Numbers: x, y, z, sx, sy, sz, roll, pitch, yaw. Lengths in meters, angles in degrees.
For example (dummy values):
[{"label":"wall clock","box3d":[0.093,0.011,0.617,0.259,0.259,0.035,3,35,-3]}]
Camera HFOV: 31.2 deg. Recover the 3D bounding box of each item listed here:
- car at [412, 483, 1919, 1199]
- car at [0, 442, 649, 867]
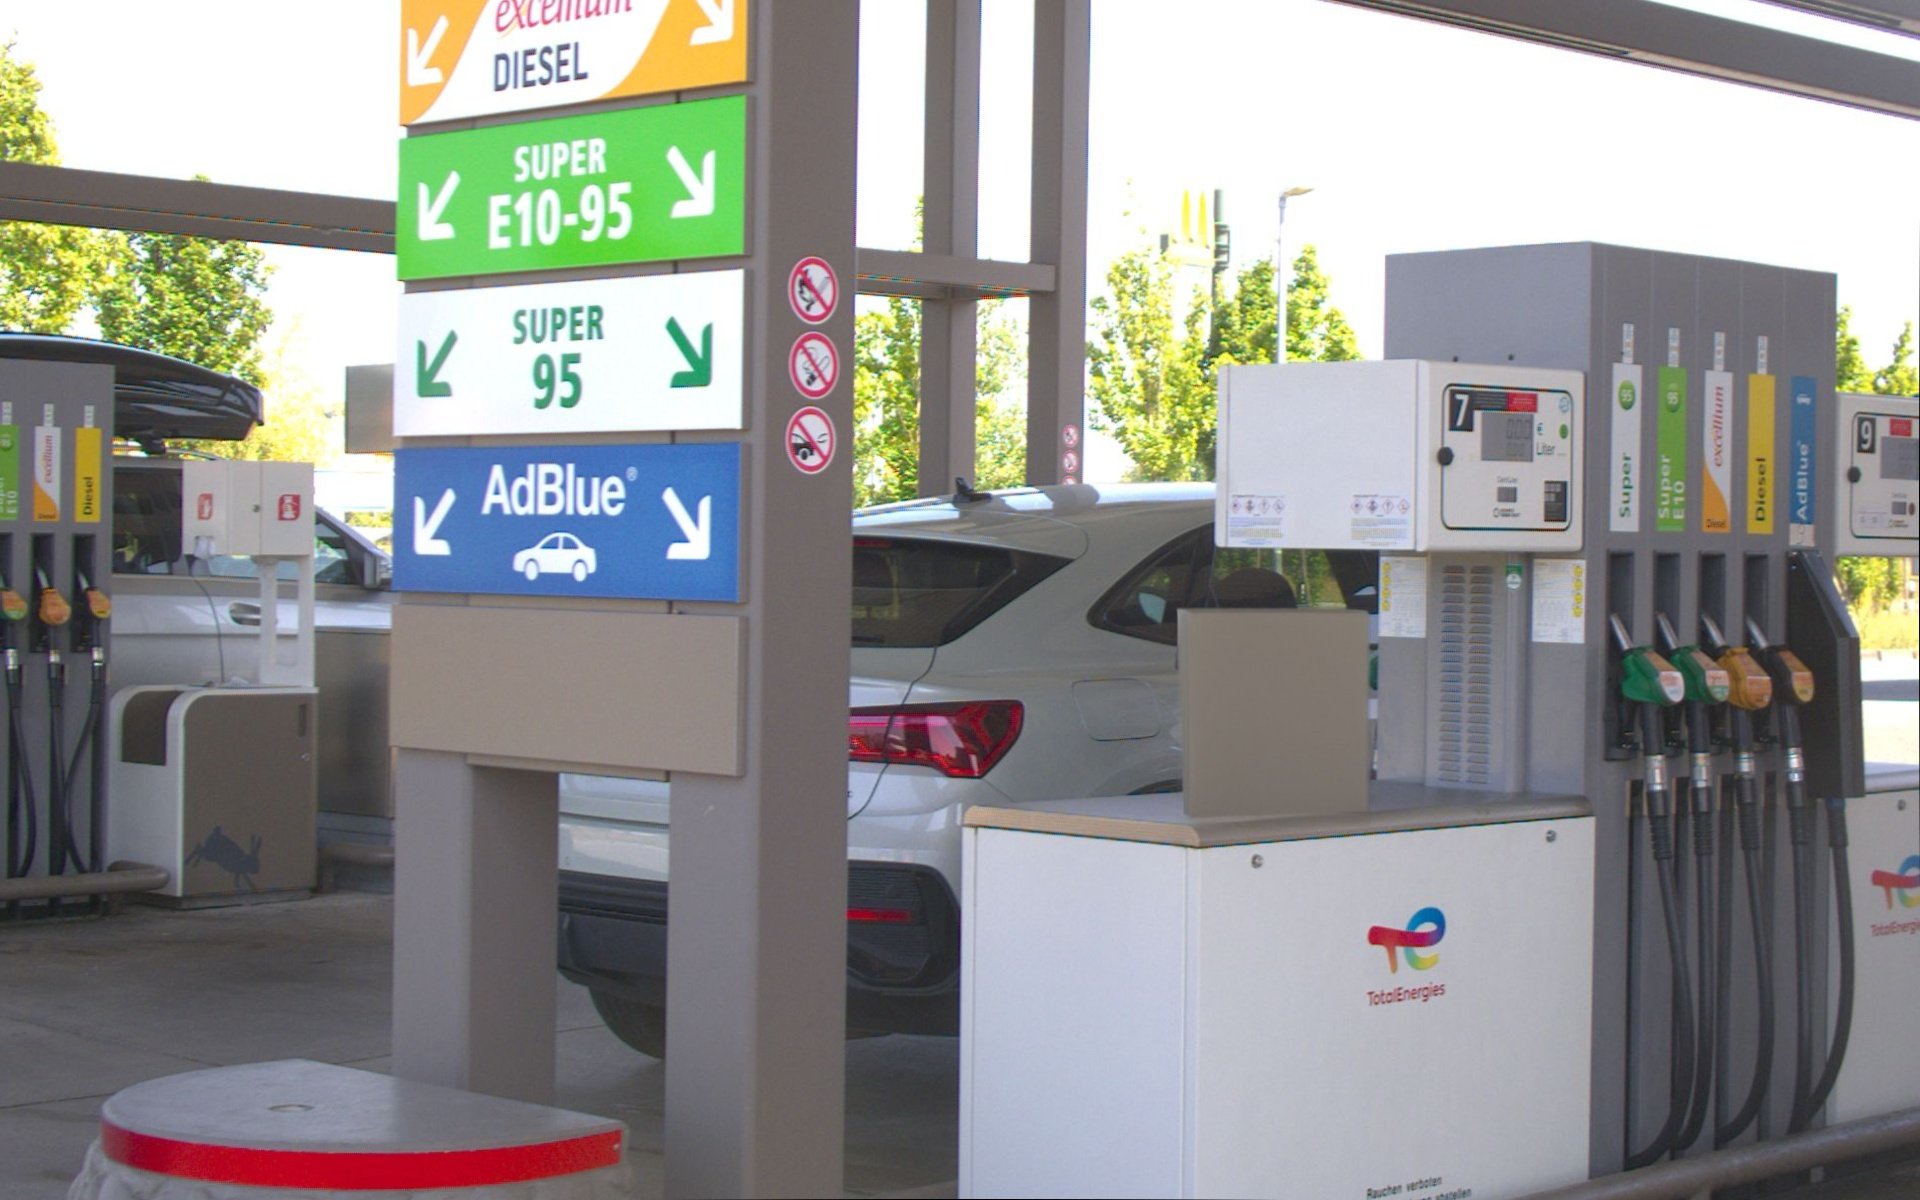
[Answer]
[{"label":"car","box3d":[0.787,0.460,9.496,4.314,1.536,1.785,-1,2,-45]},{"label":"car","box3d":[-3.658,0.168,15.153,1.864,1.681,4.525,2,2,41]}]
